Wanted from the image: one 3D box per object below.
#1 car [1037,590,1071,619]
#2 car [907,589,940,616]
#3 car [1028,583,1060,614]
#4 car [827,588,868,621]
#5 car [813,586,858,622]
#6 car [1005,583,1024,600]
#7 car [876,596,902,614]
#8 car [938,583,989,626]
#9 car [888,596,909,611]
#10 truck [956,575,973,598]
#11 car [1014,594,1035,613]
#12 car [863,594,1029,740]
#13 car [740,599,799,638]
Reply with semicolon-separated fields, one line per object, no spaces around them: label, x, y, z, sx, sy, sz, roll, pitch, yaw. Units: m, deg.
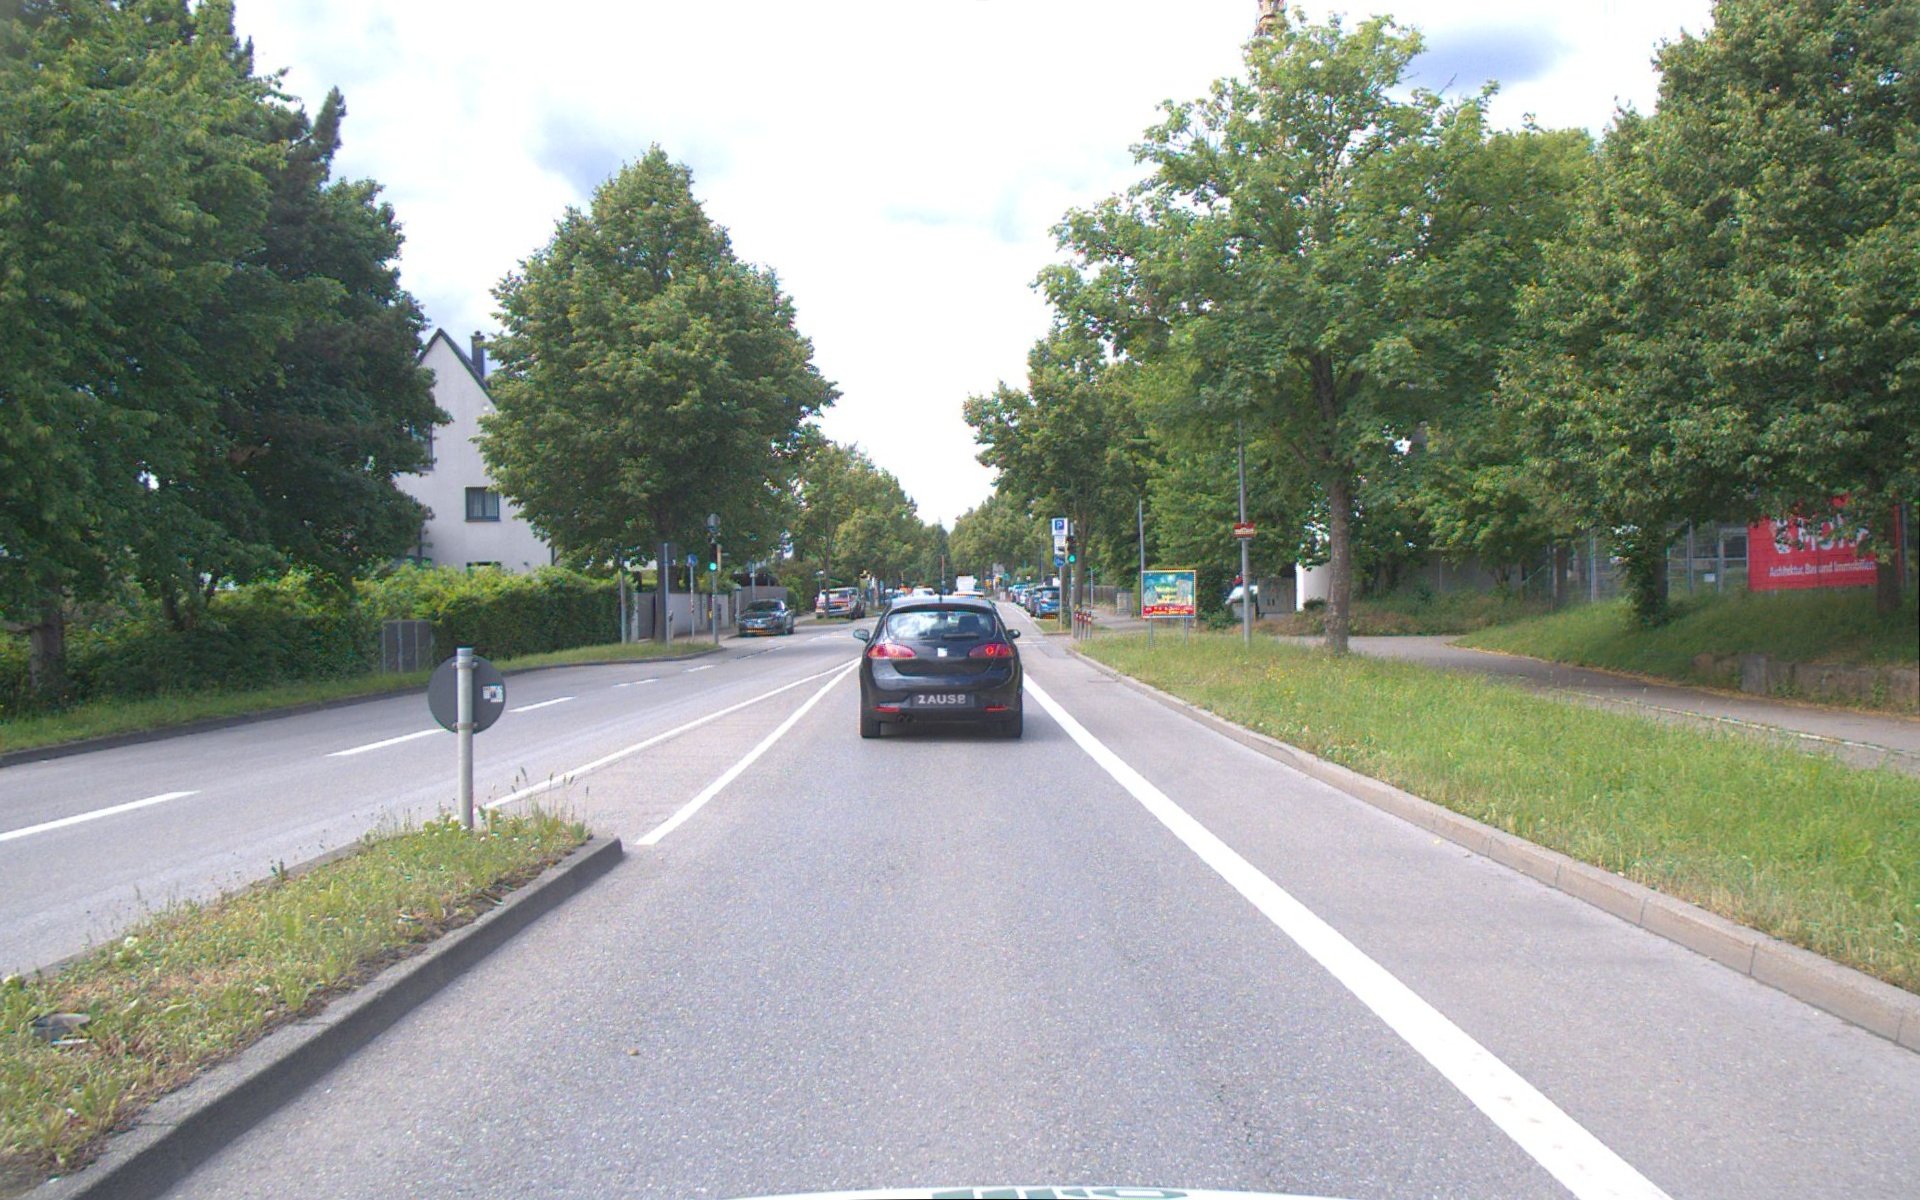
car;5.101;0.215;90.015;1.653;1.516;3.355;-1;0;0
car;-2.412;0.139;109.093;1.836;1.663;4.342;-3;0;2
car;4.806;-0.091;95.285;1.653;1.741;4.214;-1;0;0
car;-6.985;0.264;103.106;2.057;1.929;5.784;-3;0;0
car;-7.140;0.221;95.545;2.057;1.929;5.784;-3;0;0
car;5.356;-0.802;162.996;1.653;1.591;4.214;-1;0;0
car;-6.557;0.418;152.885;2.057;1.532;5.784;-3;0;0
car;0.170;0.178;61.346;1.808;1.536;3.812;1;0;1
car;-6.883;0.362;185.713;2.057;1.532;5.784;-3;0;0
truck;0.647;-1.865;233.774;2.232;3.158;8.510;1;0;0
car;5.377;0.272;138.501;1.653;1.591;4.214;-1;0;0
car;-0.162;0.670;18.264;1.629;1.426;3.811;1;0;-1
car;-7.561;0.697;66.017;1.683;1.419;4.801;-3;0;0
